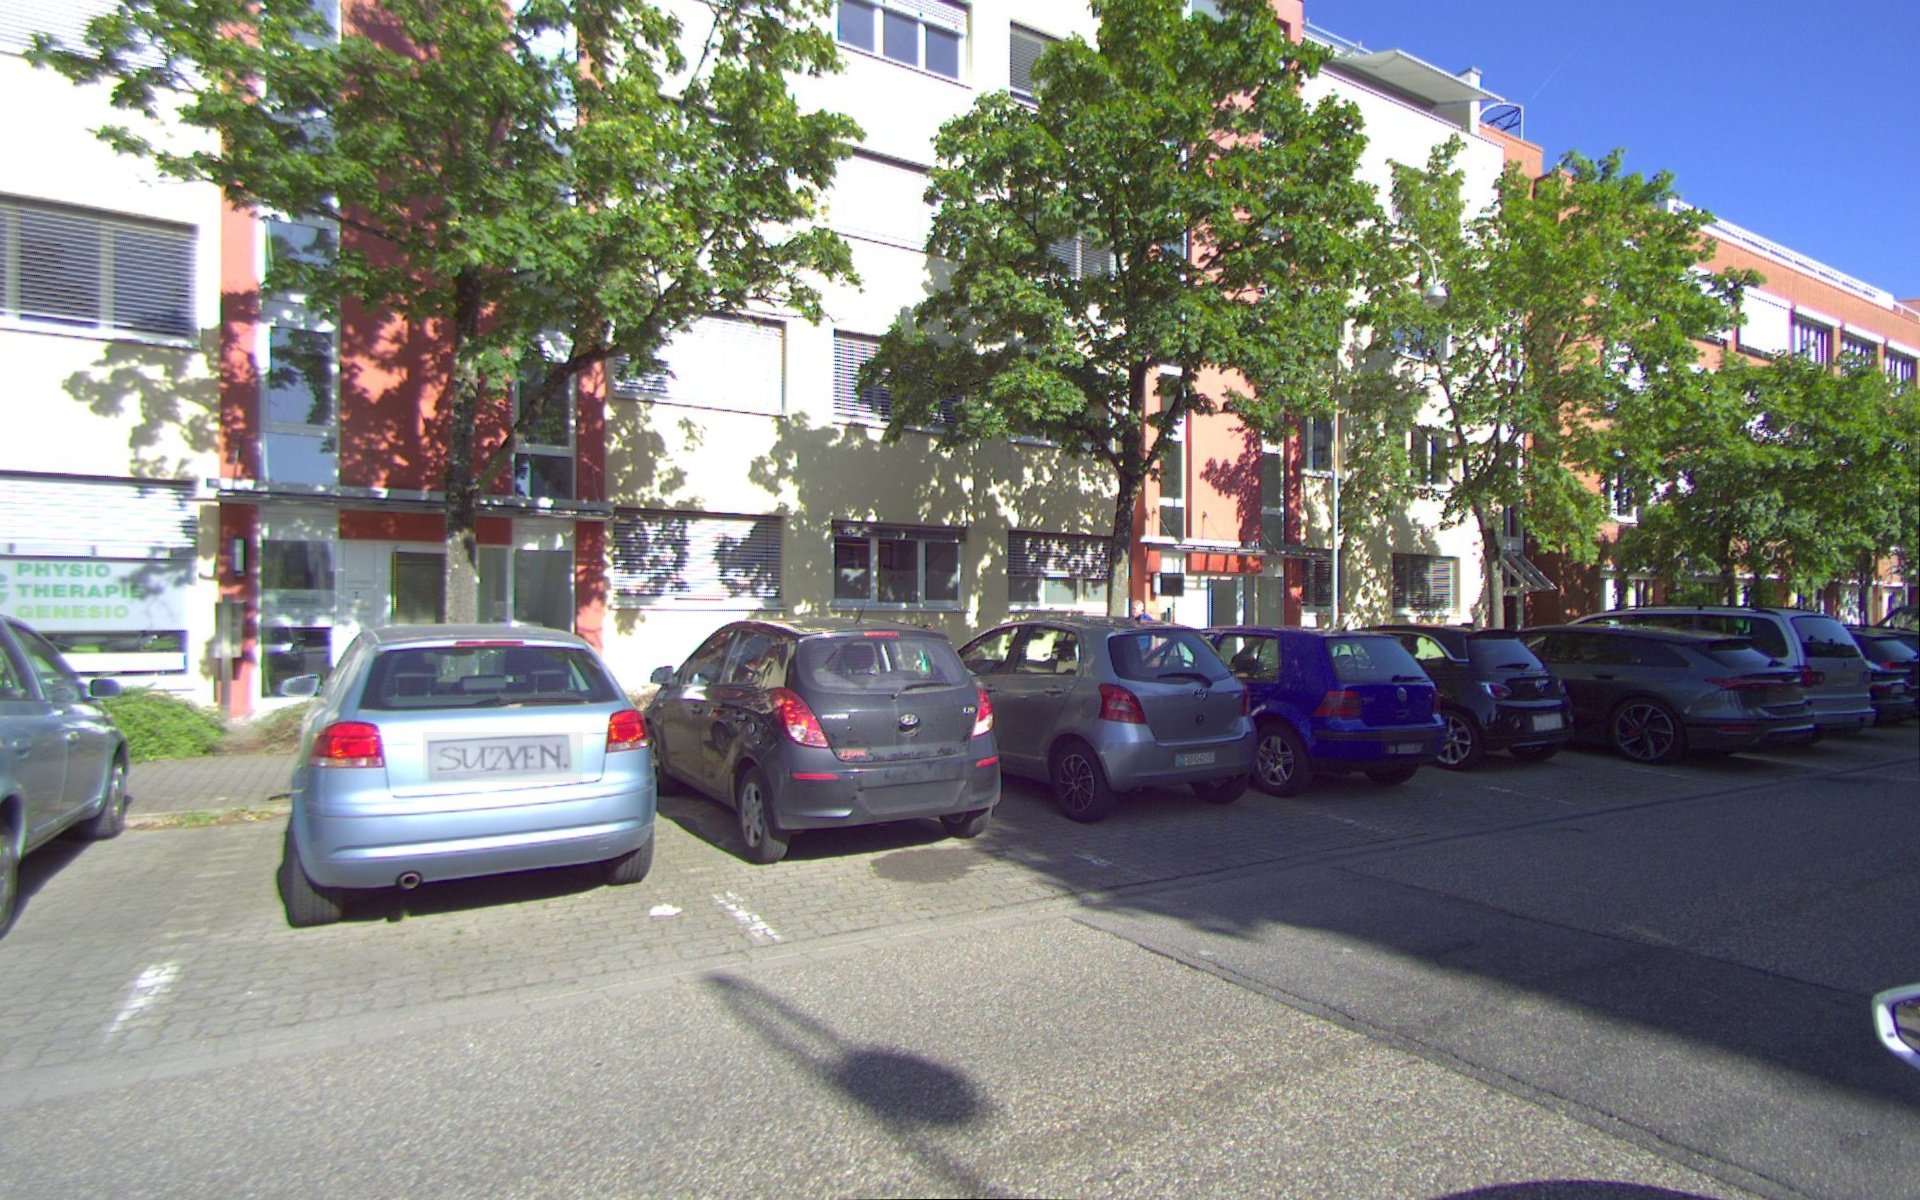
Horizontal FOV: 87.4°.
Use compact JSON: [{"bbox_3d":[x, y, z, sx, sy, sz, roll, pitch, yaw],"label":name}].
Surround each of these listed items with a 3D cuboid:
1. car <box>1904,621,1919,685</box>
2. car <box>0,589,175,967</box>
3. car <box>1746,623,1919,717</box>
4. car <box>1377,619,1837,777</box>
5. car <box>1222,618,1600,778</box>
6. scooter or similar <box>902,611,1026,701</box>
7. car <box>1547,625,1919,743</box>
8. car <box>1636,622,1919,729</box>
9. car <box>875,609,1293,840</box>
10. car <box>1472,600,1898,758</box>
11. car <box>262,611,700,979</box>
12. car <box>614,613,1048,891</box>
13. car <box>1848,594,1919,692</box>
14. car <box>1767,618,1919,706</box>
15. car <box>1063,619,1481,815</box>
[{"bbox_3d":[24.406,1.275,22.552,1.918,1.497,4.304,1,0,-28],"label":"car"},{"bbox_3d":[-5.731,0.734,5.362,1.837,1.595,3.874,1,0,-29],"label":"car"},{"bbox_3d":[15.942,1.168,17.116,1.708,1.446,3.701,1,0,-35],"label":"car"},{"bbox_3d":[7.530,1.009,12.195,1.753,1.446,4.379,1,0,-31],"label":"car"},{"bbox_3d":[5.041,0.983,11.718,1.752,1.446,3.708,1,0,-30],"label":"car"},{"bbox_3d":[0.080,0.941,17.244,2.085,1.465,0.651,1,-2,-31],"label":"scooter or similar"},{"bbox_3d":[11.516,1.132,15.149,1.737,1.376,4.299,1,0,-30],"label":"car"},{"bbox_3d":[13.659,1.143,16.642,1.705,1.446,3.708,1,0,-30],"label":"car"},{"bbox_3d":[0.874,0.883,8.980,1.838,1.529,3.708,1,0,-30],"label":"car"},{"bbox_3d":[9.583,0.897,13.647,1.941,1.740,4.295,1,0,-33],"label":"car"},{"bbox_3d":[-3.135,0.839,6.255,1.856,1.466,3.704,1,0,-33],"label":"car"},{"bbox_3d":[-1.201,0.867,7.607,1.840,1.466,3.704,1,0,-33],"label":"car"},{"bbox_3d":[22.085,0.946,21.275,2.056,2.118,4.470,1,0,-28],"label":"car"},{"bbox_3d":[18.055,1.166,18.934,1.704,1.548,4.113,1,0,-29],"label":"car"},{"bbox_3d":[2.854,0.960,9.945,1.819,1.446,3.708,1,0,-30],"label":"car"}]
